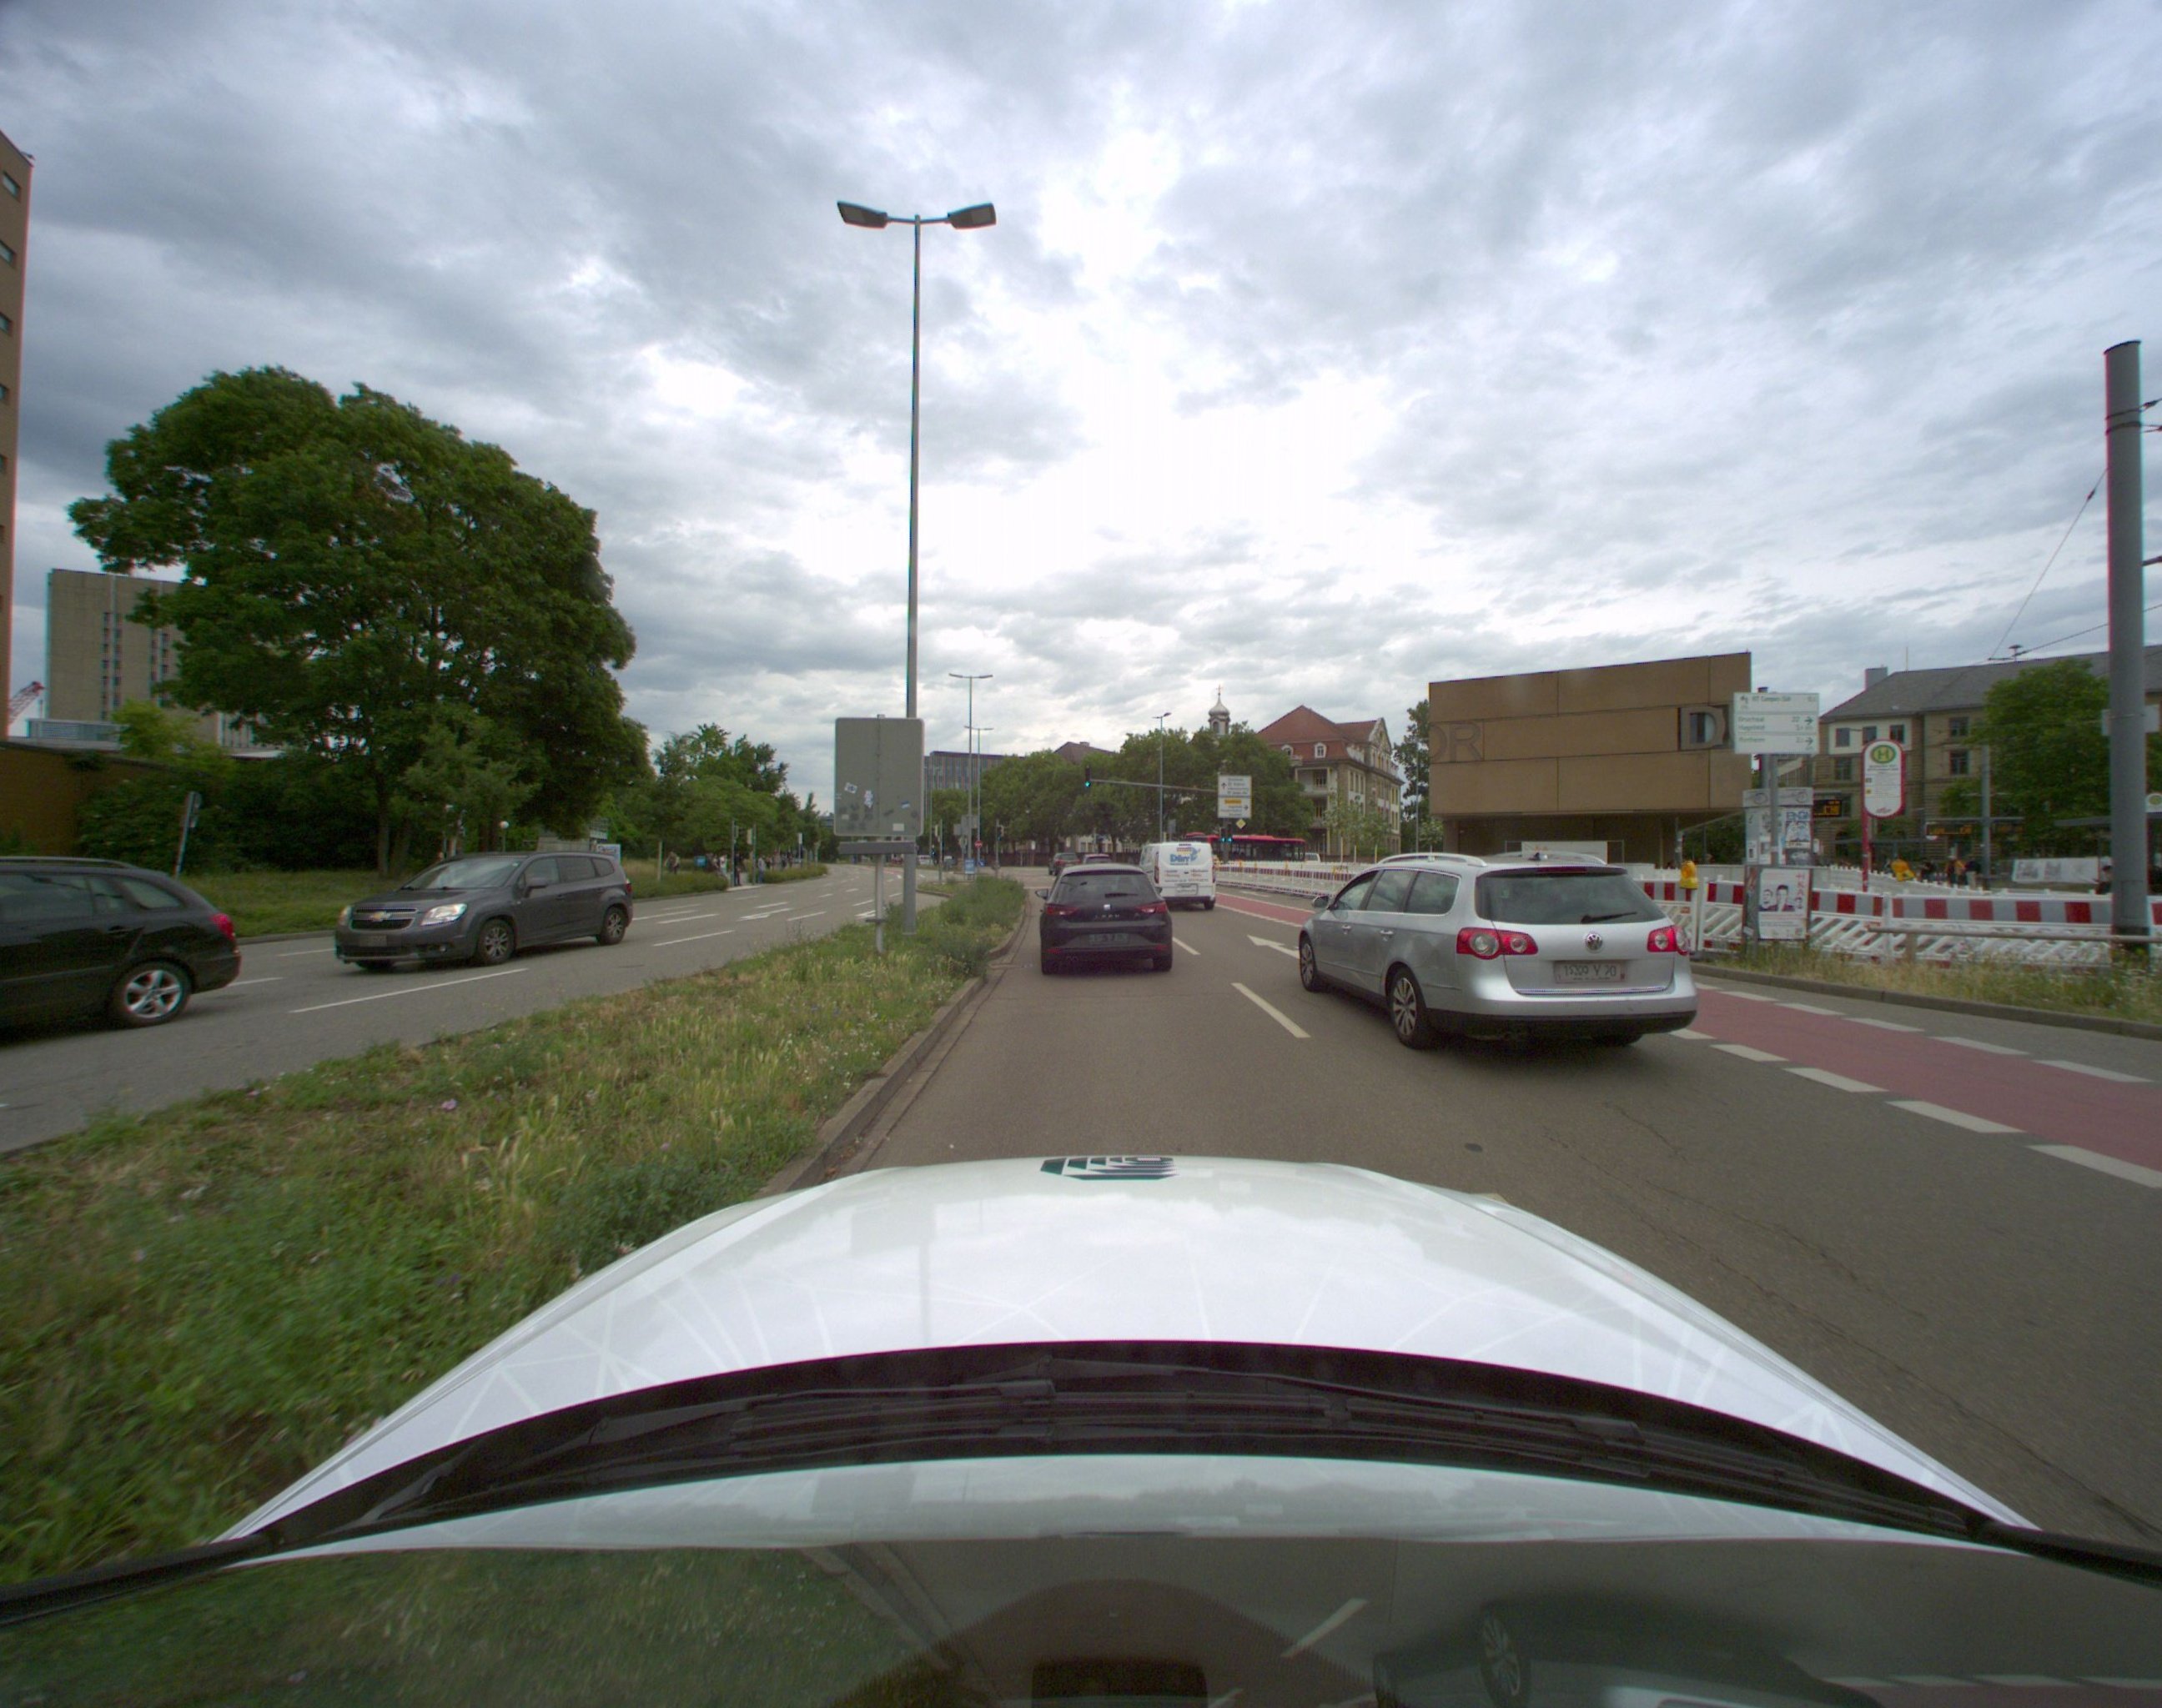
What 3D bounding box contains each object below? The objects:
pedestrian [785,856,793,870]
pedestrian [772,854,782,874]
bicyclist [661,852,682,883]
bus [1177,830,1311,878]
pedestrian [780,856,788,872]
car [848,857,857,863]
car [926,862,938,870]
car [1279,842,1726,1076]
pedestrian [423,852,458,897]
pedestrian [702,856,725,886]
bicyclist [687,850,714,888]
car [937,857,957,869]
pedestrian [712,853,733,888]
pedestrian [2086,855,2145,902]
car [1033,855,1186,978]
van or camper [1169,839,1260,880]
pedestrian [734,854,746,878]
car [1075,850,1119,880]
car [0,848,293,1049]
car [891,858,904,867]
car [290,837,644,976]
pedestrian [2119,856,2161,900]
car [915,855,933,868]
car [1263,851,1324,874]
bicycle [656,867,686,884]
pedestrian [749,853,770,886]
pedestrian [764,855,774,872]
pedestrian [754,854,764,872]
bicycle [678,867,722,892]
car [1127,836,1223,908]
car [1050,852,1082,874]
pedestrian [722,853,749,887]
[{"bbox_3d":[-38.216,1.193,106.602,0.921,1.779,1.057,1,-1,-19],"label":"pedestrian"},{"bbox_3d":[-31.004,0.986,83.174,0.755,2.014,1.043,1,-1,-11],"label":"pedestrian"},{"bbox_3d":[-21.464,0.697,42.686,0.713,1.570,0.711,1,-1,-4],"label":"bicyclist"},{"bbox_3d":[12.642,0.100,62.089,12.443,3.298,3.032,2,-1,-41],"label":"bus"},{"bbox_3d":[-33.779,1.135,92.531,0.715,1.870,0.754,1,-1,-14],"label":"pedestrian"},{"bbox_3d":[-51.336,1.287,182.844,1.718,1.265,3.315,1,-1,-22],"label":"car"},{"bbox_3d":[-24.937,1.996,136.460,1.529,1.365,2.952,1,-1,-17],"label":"car"},{"bbox_3d":[3.278,0.690,7.547,1.715,1.482,4.627,0,-1,-1],"label":"car"},{"bbox_3d":[-22.227,0.714,28.273,0.560,1.541,0.754,1,-1,-2],"label":"pedestrian"},{"bbox_3d":[-20.232,0.940,44.832,0.839,1.649,0.805,0,-1,-2],"label":"pedestrian"},{"bbox_3d":[-18.670,0.752,39.974,0.783,1.844,0.838,0,-1,25],"label":"bicyclist"},{"bbox_3d":[-19.802,1.319,119.964,1.926,1.684,3.968,0,-1,-24],"label":"car"},{"bbox_3d":[-18.665,0.857,42.444,0.755,1.842,0.766,0,-1,-2],"label":"pedestrian"},{"bbox_3d":[35.937,0.846,28.306,1.008,1.576,1.014,0,-1,36],"label":"pedestrian"},{"bbox_3d":[0.244,0.803,11.997,1.743,1.464,3.992,-1,-1,-5],"label":"car"},{"bbox_3d":[11.244,0.534,68.502,7.160,3.332,2.854,1,-2,-24],"label":"van or camper"},{"bbox_3d":[-29.249,1.007,69.836,0.755,2.014,1.043,1,-1,-11],"label":"pedestrian"},{"bbox_3d":[0.825,0.604,44.825,1.856,1.600,4.194,1,-1,-7],"label":"car"},{"bbox_3d":[-9.025,0.734,6.034,1.863,1.508,4.481,-2,-1,2],"label":"car"},{"bbox_3d":[-33.854,1.538,150.118,2.001,1.682,3.983,0,0,-20],"label":"car"},{"bbox_3d":[-8.986,0.694,12.604,1.864,1.725,4.712,-1,-1,0],"label":"car"},{"bbox_3d":[34.830,0.764,26.535,1.008,1.403,1.014,0,-1,37],"label":"pedestrian"},{"bbox_3d":[-24.061,1.186,124.744,2.002,2.014,3.969,0,-1,-23],"label":"car"},{"bbox_3d":[18.695,0.748,71.740,5.010,1.865,1.984,1,-4,-23],"label":"car"},{"bbox_3d":[-21.469,1.105,42.687,0.713,0.882,1.881,1,-1,-3],"label":"bicycle"},{"bbox_3d":[-17.948,0.857,45.495,0.890,1.842,0.667,0,-1,-2],"label":"pedestrian"},{"bbox_3d":[-30.532,0.935,79.749,0.755,1.713,1.043,1,-1,-11],"label":"pedestrian"},{"bbox_3d":[-31.354,0.890,79.376,0.755,1.765,0.903,1,-1,-11],"label":"pedestrian"},{"bbox_3d":[-18.674,1.231,39.955,0.782,1.159,1.917,0,-1,25],"label":"bicycle"},{"bbox_3d":[2.766,0.537,25.281,1.990,2.019,5.022,1,-1,-5],"label":"car"},{"bbox_3d":[-1.136,0.681,60.200,1.991,1.566,4.195,1,-1,-7],"label":"car"},{"bbox_3d":[-18.498,0.857,43.632,1.045,1.842,0.865,0,-1,-2],"label":"pedestrian"}]
